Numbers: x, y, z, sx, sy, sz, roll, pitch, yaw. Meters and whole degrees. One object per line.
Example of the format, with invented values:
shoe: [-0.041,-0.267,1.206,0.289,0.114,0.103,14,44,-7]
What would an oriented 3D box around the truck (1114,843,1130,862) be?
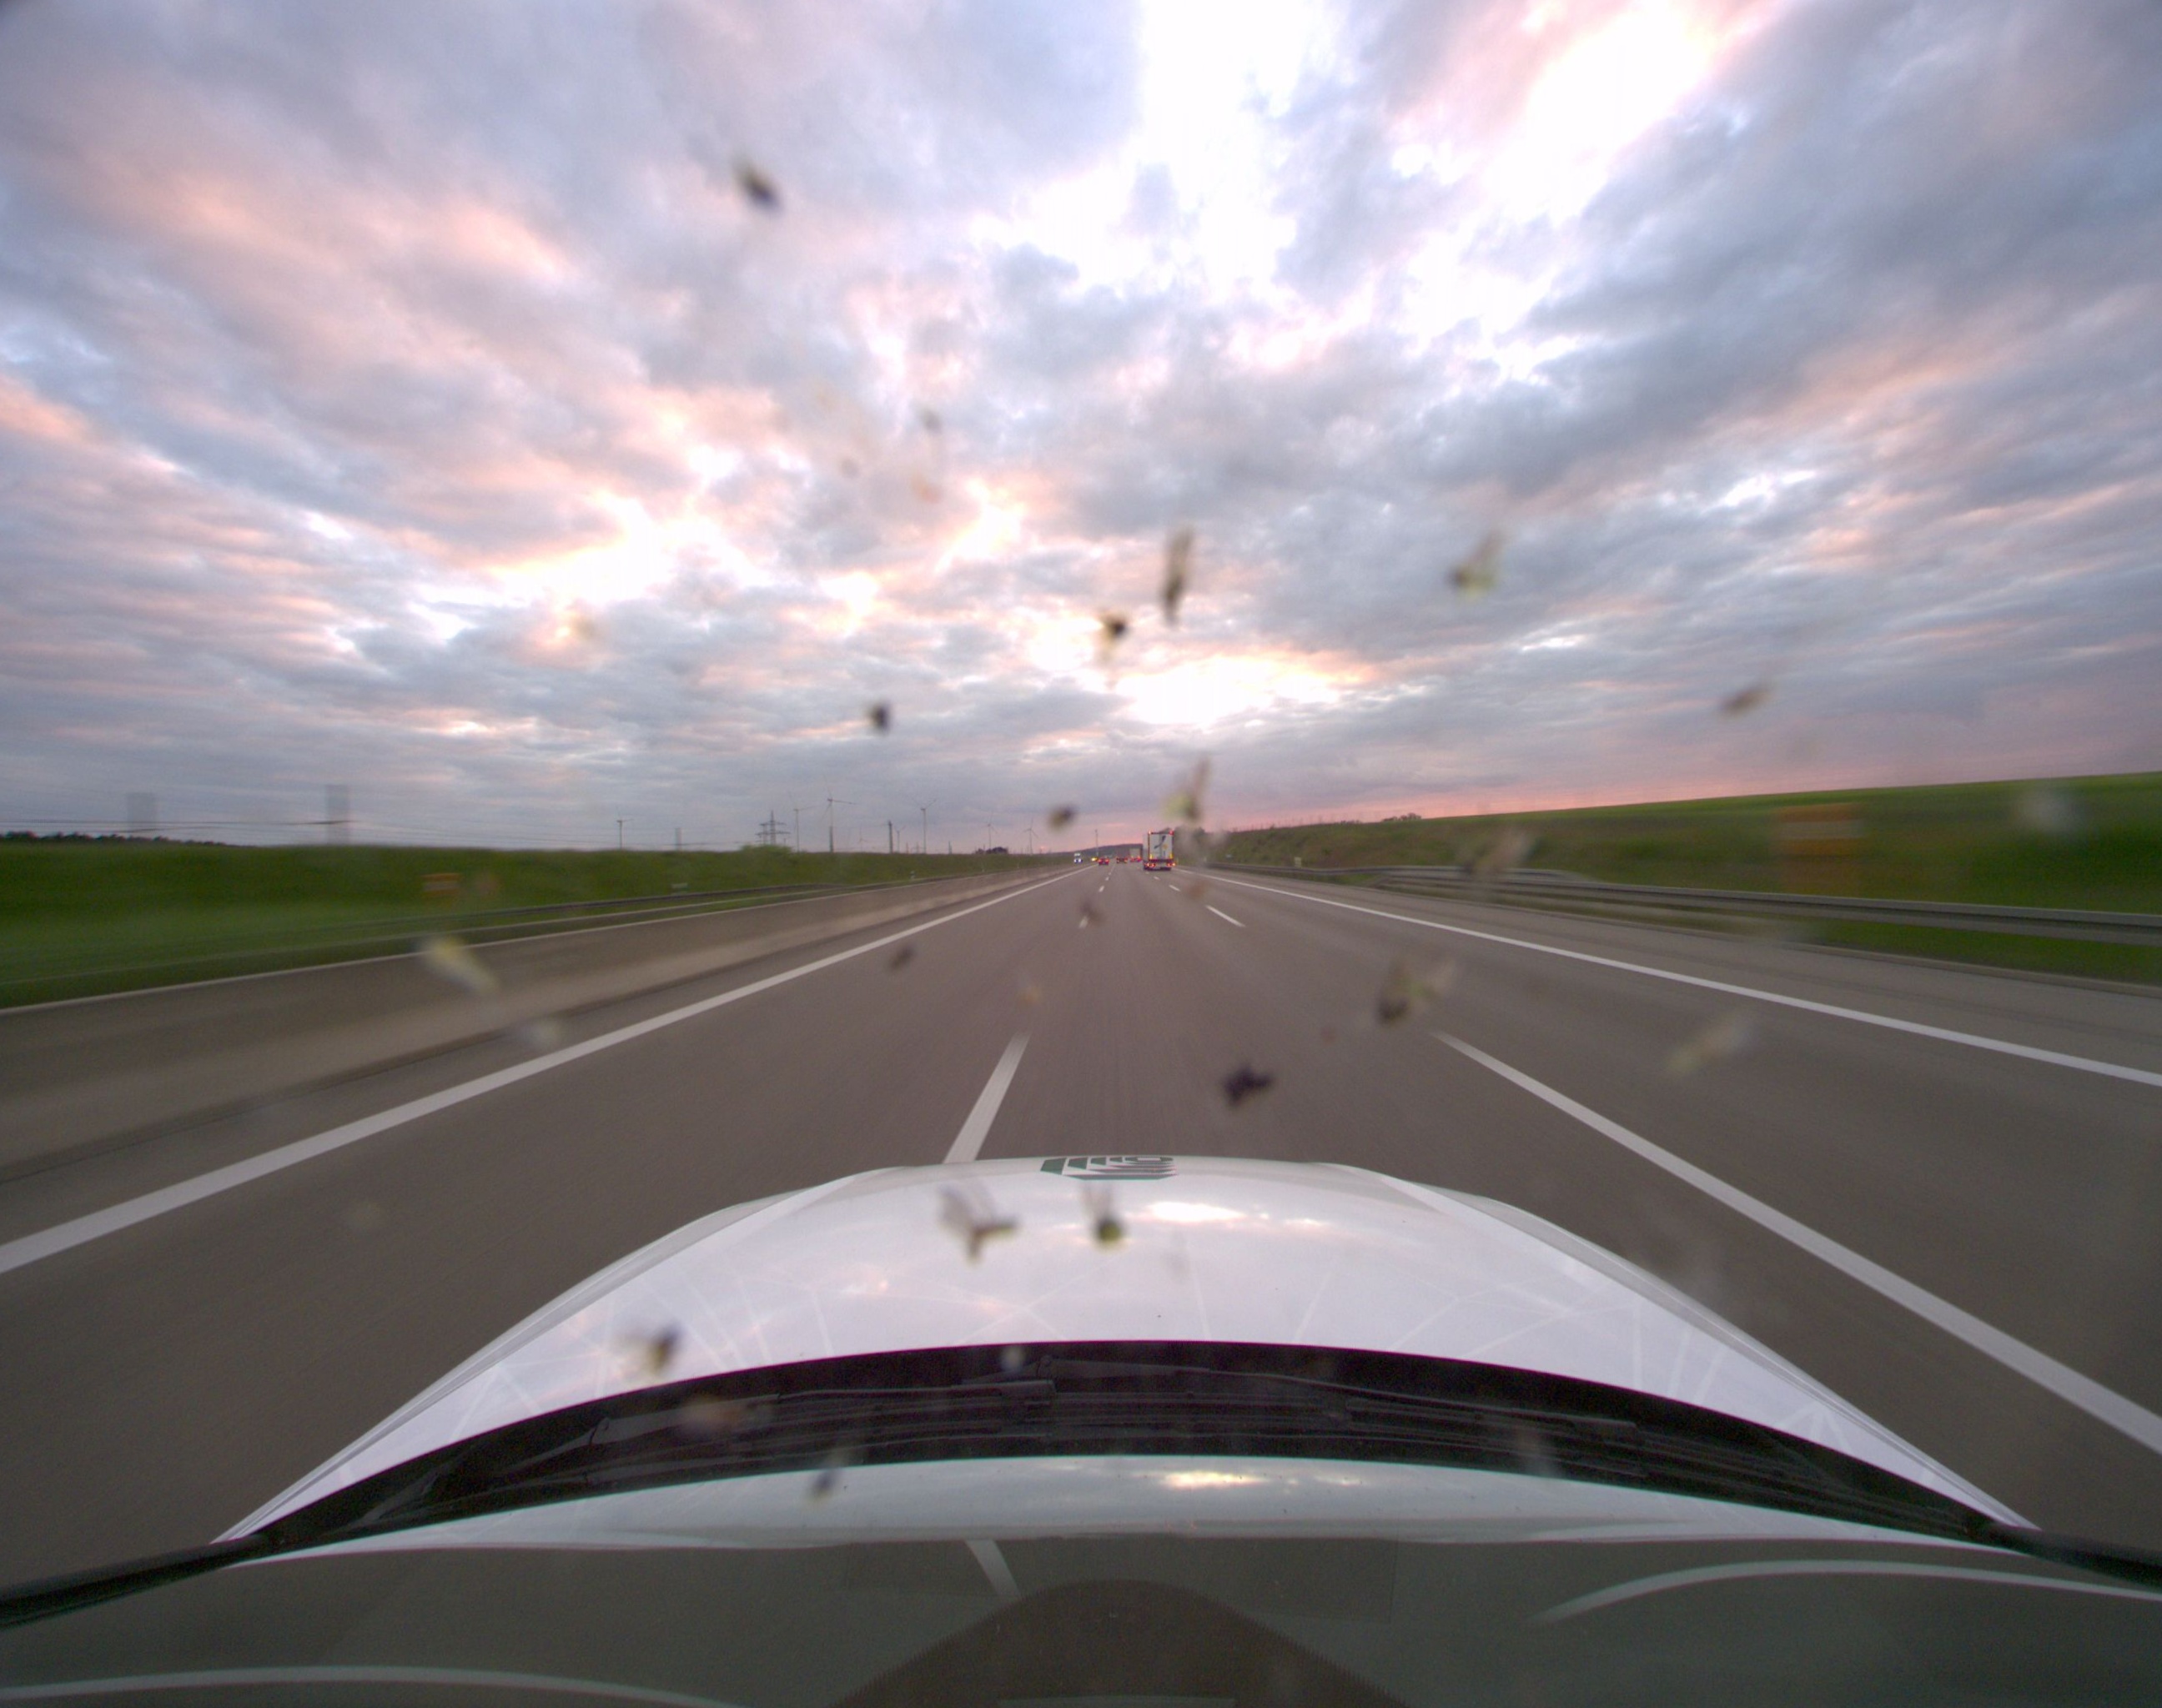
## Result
truck: [9.978,-0.369,199.433,3.633,4.414,8.640,-1,0,2]

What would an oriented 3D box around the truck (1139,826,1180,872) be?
truck: [8.452,-0.533,88.949,3.661,4.564,10.988,-3,0,3]

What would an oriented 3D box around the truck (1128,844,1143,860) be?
truck: [15.468,-0.526,233.383,3.950,4.414,8.642,-3,0,3]

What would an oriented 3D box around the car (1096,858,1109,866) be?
car: [3.886,1.424,146.810,1.979,1.429,4.005,-3,0,4]
